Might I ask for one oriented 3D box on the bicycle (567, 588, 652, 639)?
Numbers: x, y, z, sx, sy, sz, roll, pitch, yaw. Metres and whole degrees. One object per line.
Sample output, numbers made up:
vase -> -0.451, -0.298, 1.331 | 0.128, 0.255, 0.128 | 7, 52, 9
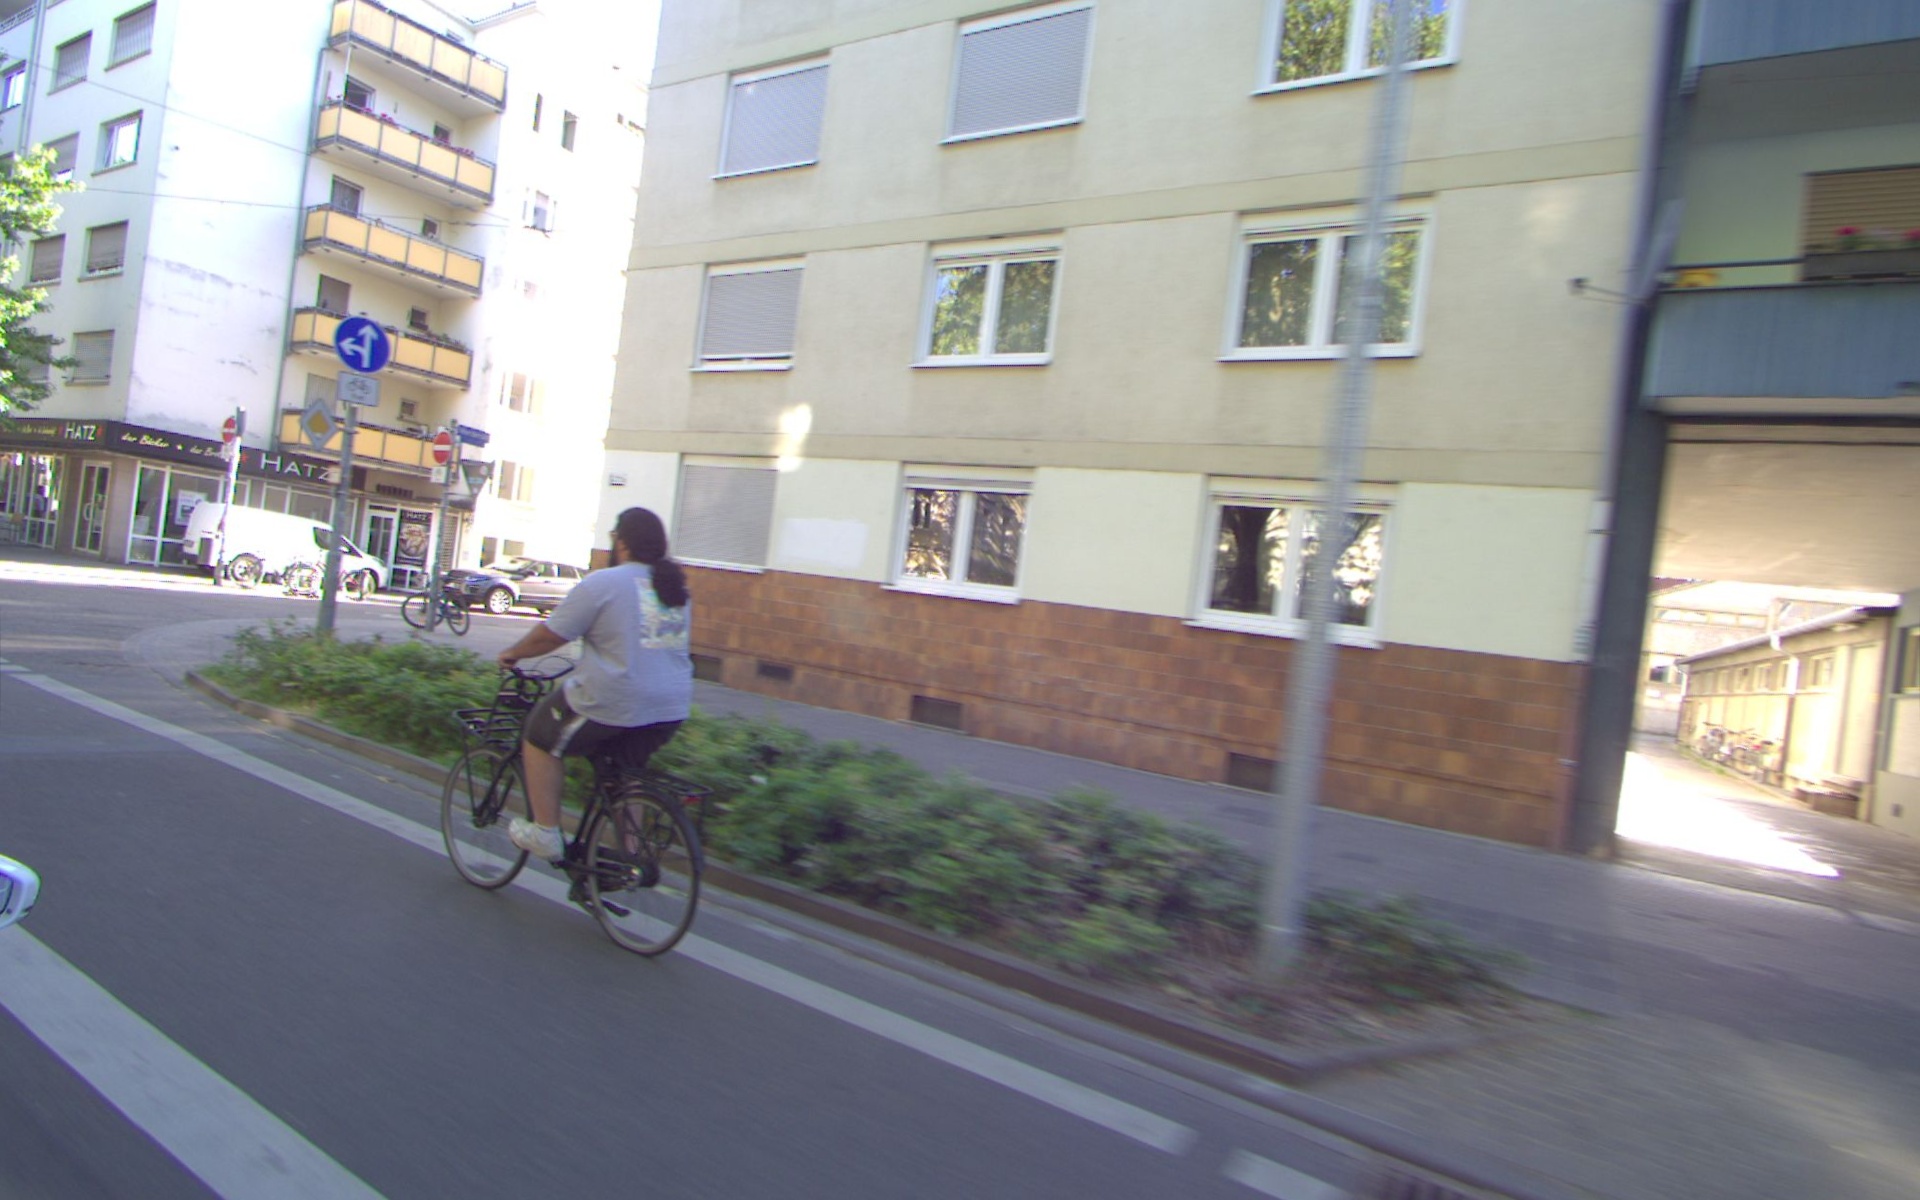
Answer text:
bicycle -> -8.061, 0.330, 23.200 | 0.480, 1.028, 1.966 | 7, 0, 27

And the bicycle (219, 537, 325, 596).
bicycle -> -16.119, -0.768, 23.614 | 0.692, 1.130, 1.837 | 7, -1, 34

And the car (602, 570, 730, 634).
car -> -9.435, 0.105, 32.518 | 1.703, 1.589, 3.651 | 7, -1, 31

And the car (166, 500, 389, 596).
car -> -17.965, -1.309, 26.727 | 1.965, 1.853, 4.370 | 7, -1, 27

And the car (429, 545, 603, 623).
car -> -12.215, -0.390, 27.944 | 1.773, 1.625, 4.012 | 7, -1, 31

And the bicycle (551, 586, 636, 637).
bicycle -> -8.512, 0.280, 23.466 | 0.480, 1.028, 1.966 | 7, 0, 28

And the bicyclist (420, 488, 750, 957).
bicyclist -> -1.638, 0.479, 4.442 | 0.899, 1.780, 0.788 | 7, 0, 30

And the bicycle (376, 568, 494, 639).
bicycle -> -9.461, 0.058, 18.130 | 1.933, 1.028, 0.804 | 7, 0, 26

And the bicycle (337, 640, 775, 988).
bicycle -> -1.897, 0.869, 4.624 | 1.957, 1.104, 0.703 | 6, -2, 31

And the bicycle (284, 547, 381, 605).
bicycle -> -14.825, -0.563, 23.788 | 0.605, 1.130, 1.769 | 7, 0, 44
